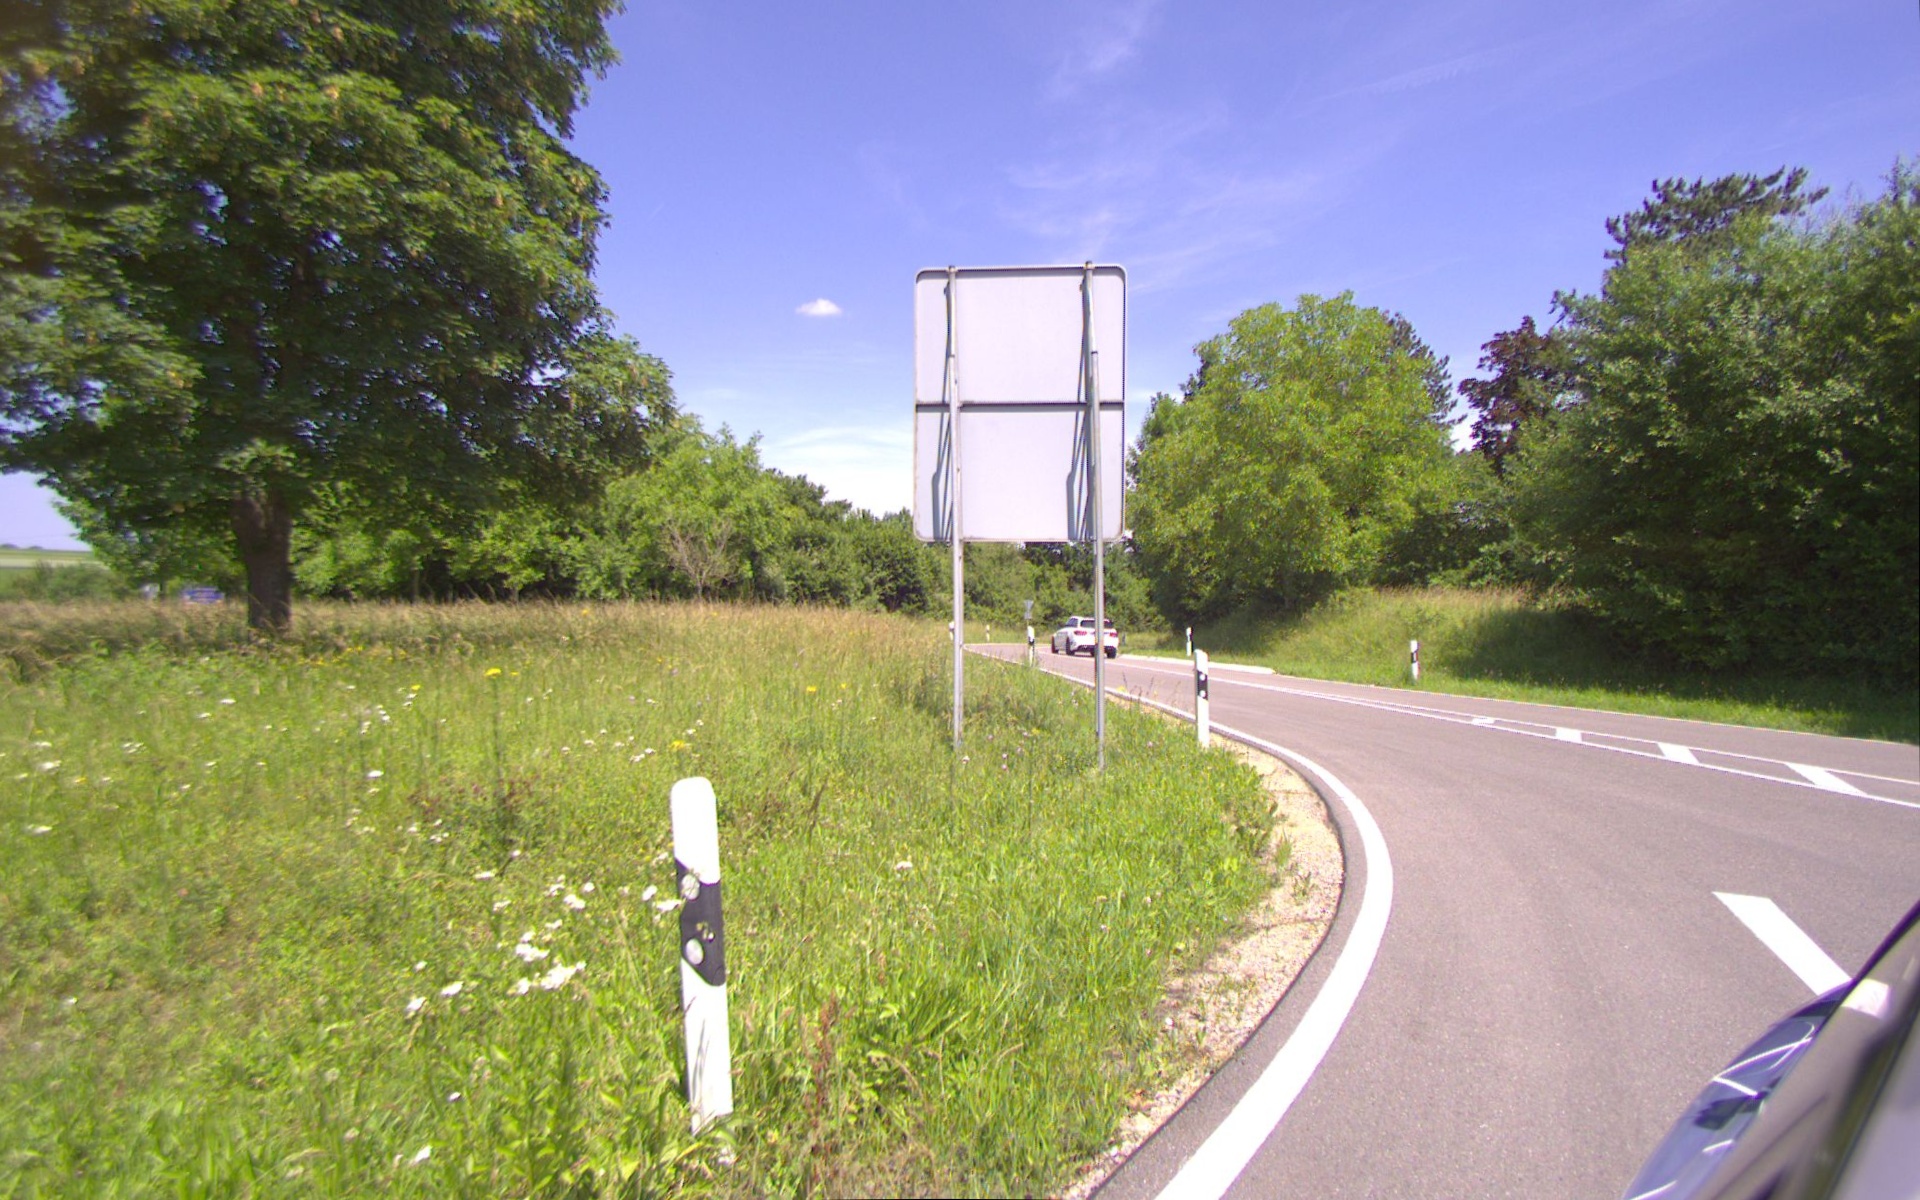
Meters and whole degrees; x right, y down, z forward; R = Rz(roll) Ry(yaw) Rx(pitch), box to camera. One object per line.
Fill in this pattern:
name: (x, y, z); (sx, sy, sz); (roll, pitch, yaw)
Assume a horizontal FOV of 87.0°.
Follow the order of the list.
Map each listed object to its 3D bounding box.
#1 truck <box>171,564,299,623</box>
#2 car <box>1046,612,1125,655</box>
truck: (-57.479, -0.458, 80.969); (2.792, 4.184, 16.845); (1, 0, -16)
car: (4.573, 1.223, 37.801); (1.774, 1.430, 5.338); (2, -1, -5)
